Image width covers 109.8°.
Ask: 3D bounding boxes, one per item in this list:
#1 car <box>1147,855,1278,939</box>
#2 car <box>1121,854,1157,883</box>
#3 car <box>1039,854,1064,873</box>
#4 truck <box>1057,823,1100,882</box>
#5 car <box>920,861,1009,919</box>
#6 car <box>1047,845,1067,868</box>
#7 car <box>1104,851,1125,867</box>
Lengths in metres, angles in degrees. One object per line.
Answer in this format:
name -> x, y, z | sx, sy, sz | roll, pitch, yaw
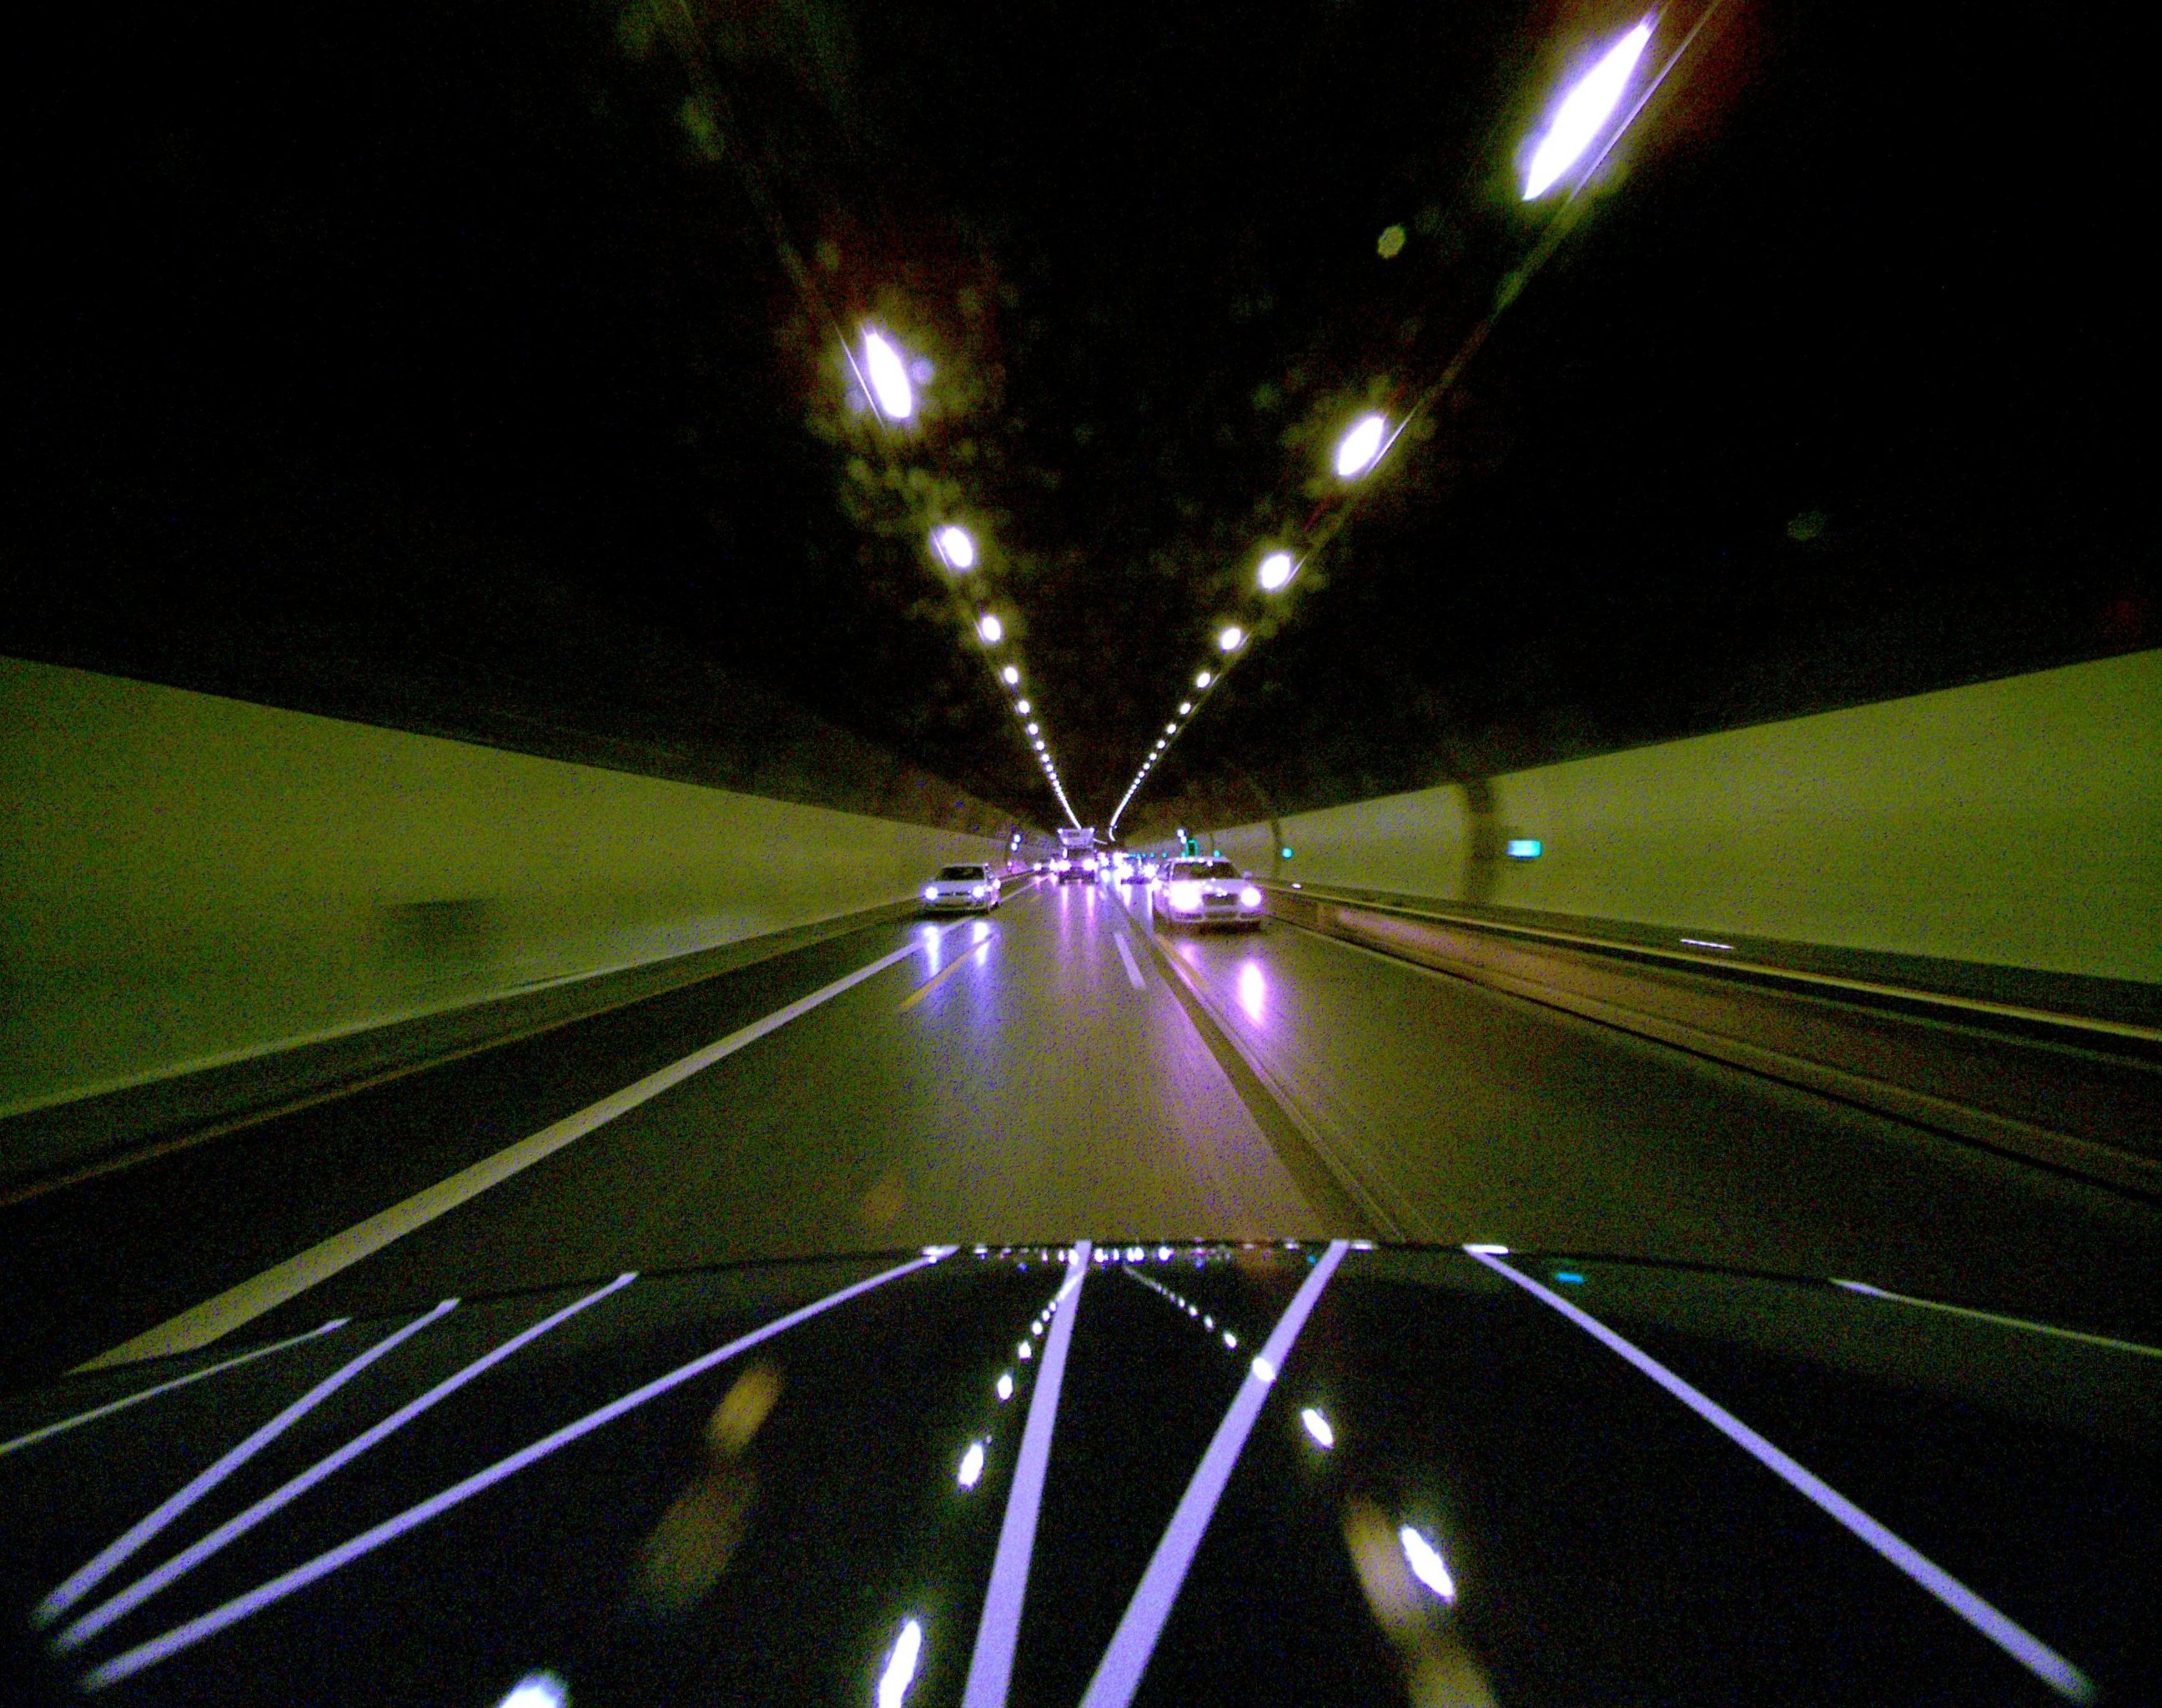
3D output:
car -> 2.610, 0.788, 16.295 | 1.908, 1.476, 4.943 | -2, 0, 0
car -> 3.112, 0.757, 41.132 | 1.657, 1.395, 3.656 | -2, 0, 0
car -> -2.638, 0.819, 68.941 | 1.958, 1.528, 4.757 | -3, 1, 0
truck -> -0.119, -0.116, 46.142 | 2.262, 3.238, 7.382 | -3, 0, 0
car -> -3.333, 0.996, 22.454 | 1.801, 1.452, 4.035 | -2, 0, 2
car -> -3.024, 0.244, 97.052 | 2.124, 2.629, 6.229 | -3, 1, 0
car -> 3.771, 0.543, 86.466 | 1.958, 1.528, 4.757 | -5, 1, 0
